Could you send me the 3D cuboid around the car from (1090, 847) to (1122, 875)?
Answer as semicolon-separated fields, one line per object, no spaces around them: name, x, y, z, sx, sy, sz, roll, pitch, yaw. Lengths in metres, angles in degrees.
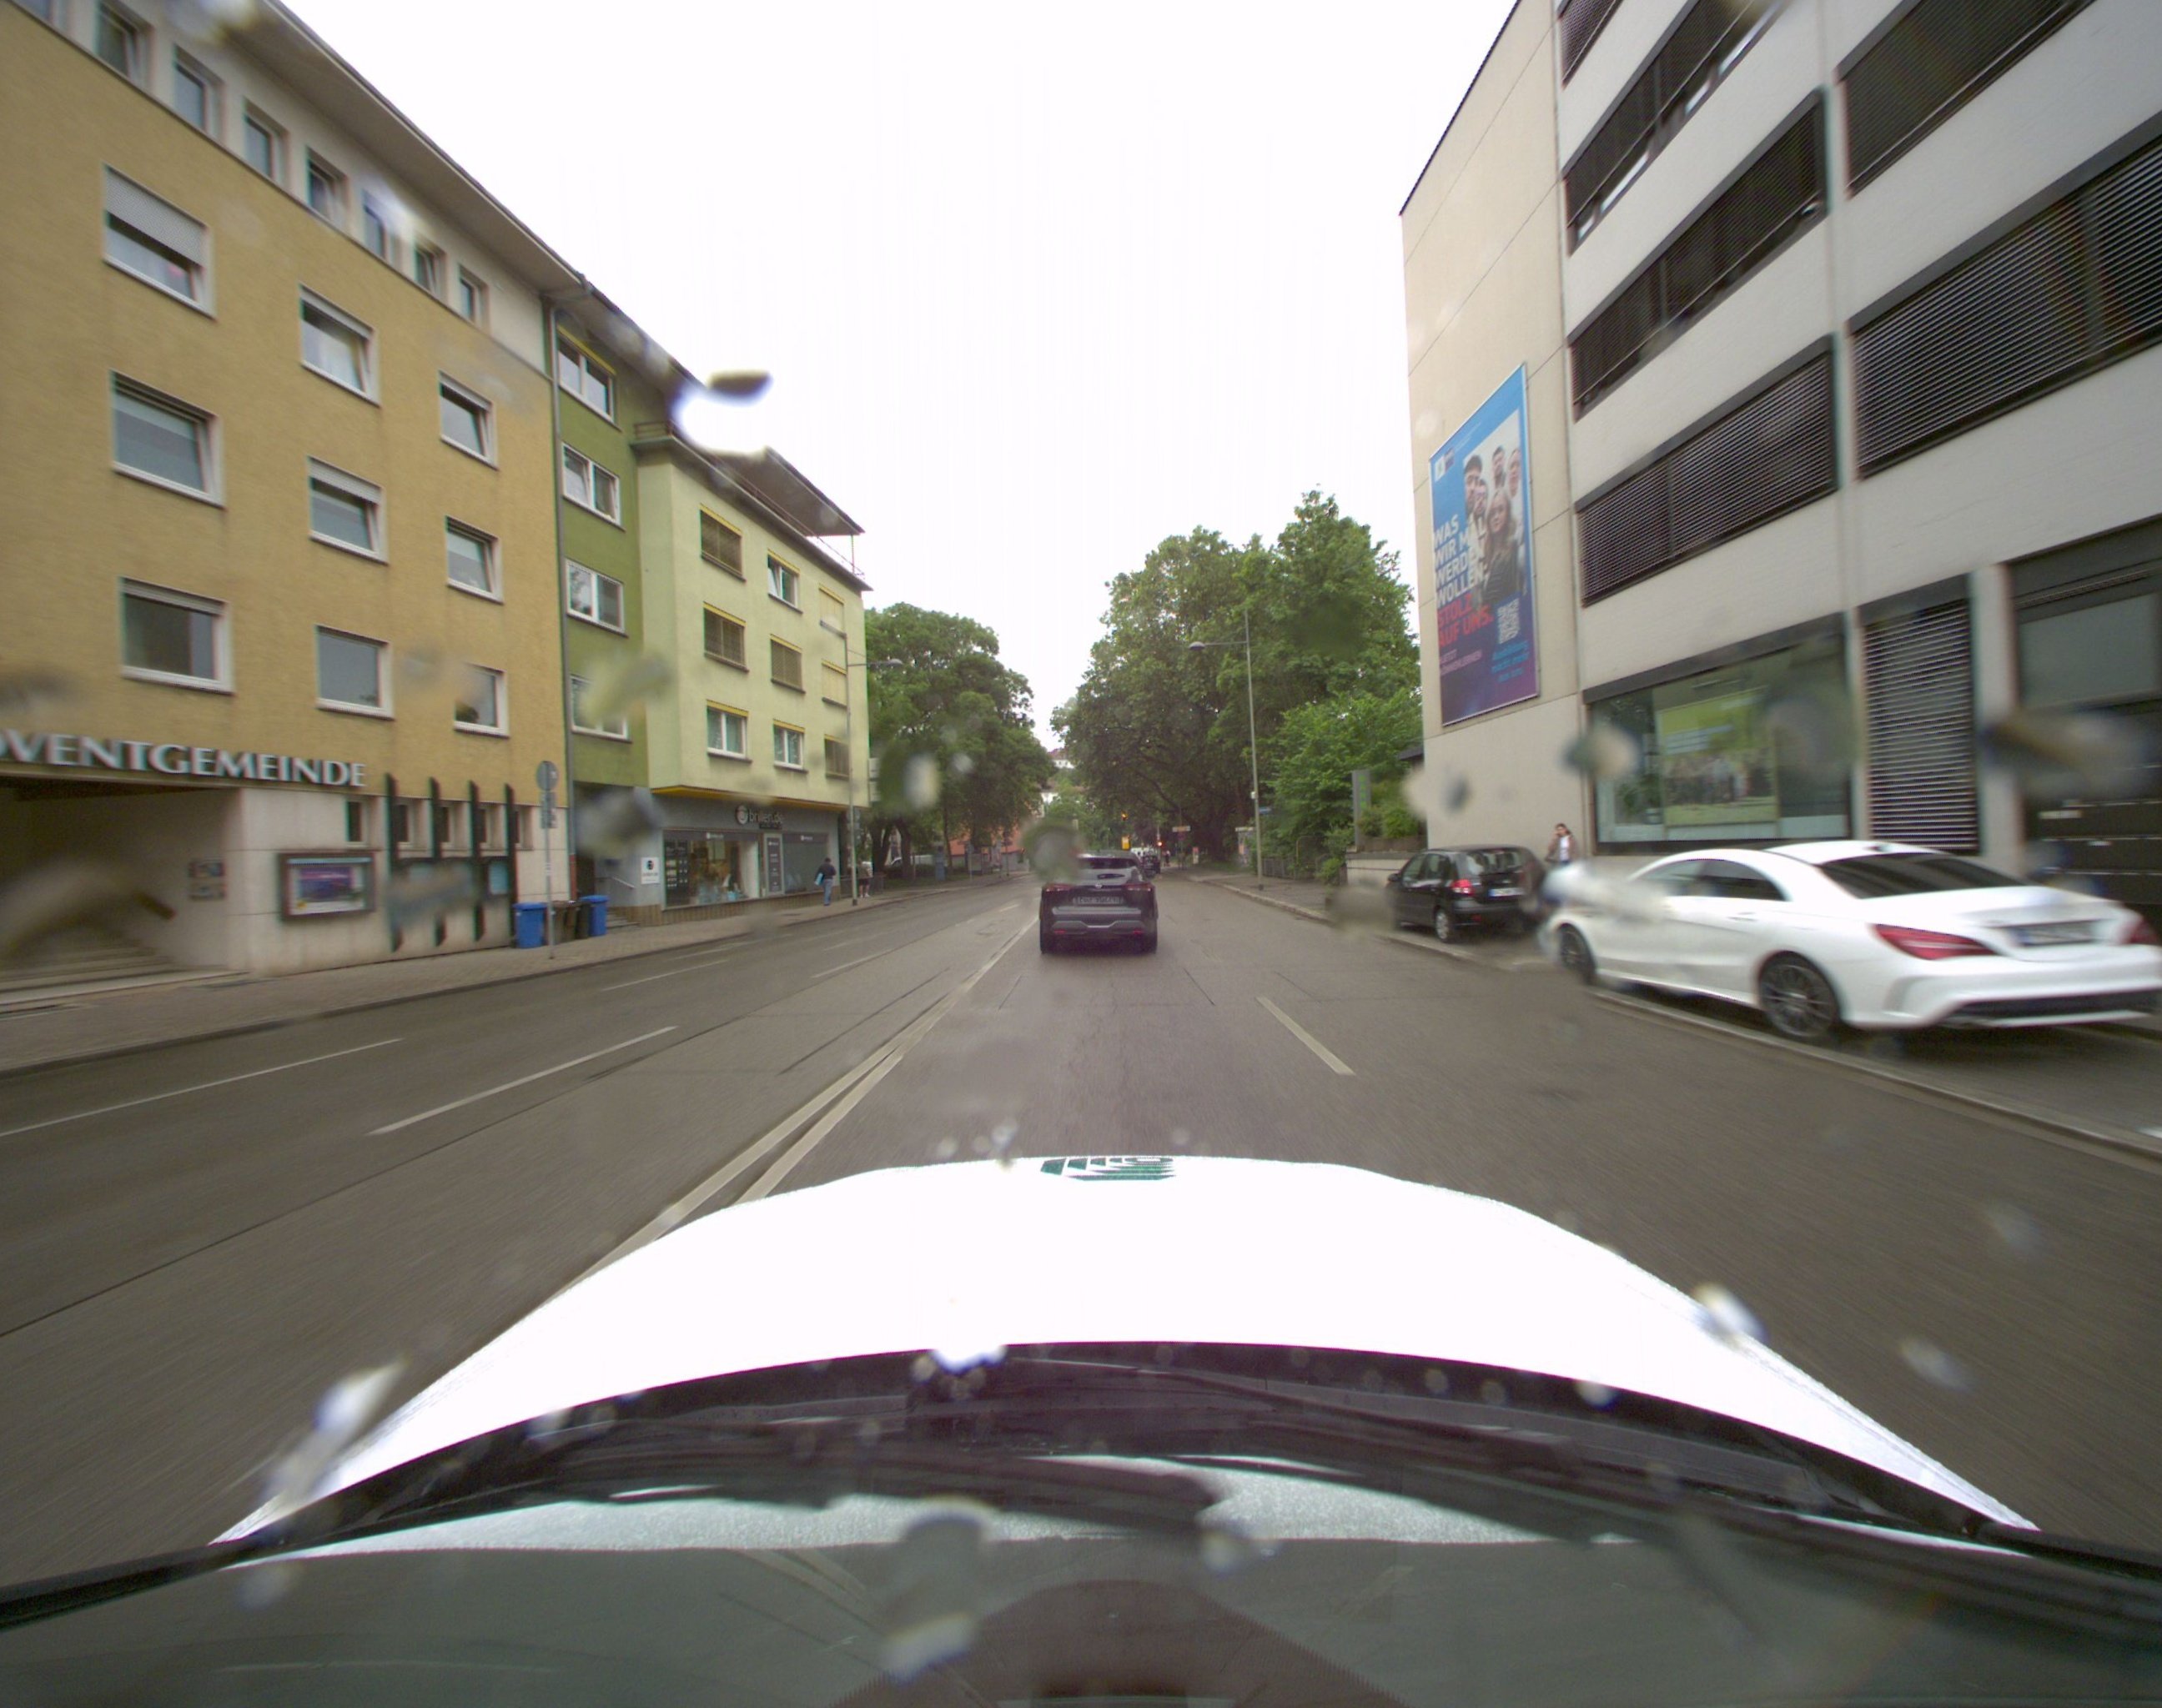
car;1.709;0.460;54.242;1.938;1.685;4.003;-4;-1;3

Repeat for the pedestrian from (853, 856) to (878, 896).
pedestrian;-9.395;0.953;35.587;0.795;1.688;0.817;-2;0;1

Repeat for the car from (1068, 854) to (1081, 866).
car;-1.051;0.936;128.271;1.813;1.796;3.869;-1;0;3

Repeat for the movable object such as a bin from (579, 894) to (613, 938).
movable object such as a bin;-11.689;1.484;19.636;0.397;1.006;0.546;-2;0;9

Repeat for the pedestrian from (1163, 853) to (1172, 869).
pedestrian;9.901;0.766;92.843;0.672;1.791;0.713;-1;0;-40

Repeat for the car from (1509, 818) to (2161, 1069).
car;5.937;0.538;7.215;1.769;1.401;4.578;-4;0;-1

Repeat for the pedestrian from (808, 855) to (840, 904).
pedestrian;-9.663;0.949;30.656;0.861;1.788;0.877;0;0;8

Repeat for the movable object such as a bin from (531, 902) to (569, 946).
movable object such as a bin;-11.748;1.540;18.009;0.451;0.900;0.504;-2;0;9

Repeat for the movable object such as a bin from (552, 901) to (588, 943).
movable object such as a bin;-11.651;1.537;18.578;0.451;0.900;0.504;-2;0;9

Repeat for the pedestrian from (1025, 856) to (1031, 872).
pedestrian;-5.874;1.072;90.310;0.665;1.791;0.720;-1;0;-5

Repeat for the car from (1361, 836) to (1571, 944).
car;6.253;0.524;13.801;1.708;1.442;4.085;-4;0;3

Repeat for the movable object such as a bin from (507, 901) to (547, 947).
movable object such as a bin;-11.850;1.498;17.429;0.451;0.929;0.504;-2;0;9

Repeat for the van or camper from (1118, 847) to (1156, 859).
van or camper;16.524;-0.362;240.681;10.893;3.557;3.185;-1;0;0

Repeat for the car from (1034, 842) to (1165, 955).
car;0.222;0.636;13.900;1.889;1.629;3.997;-1;0;-2

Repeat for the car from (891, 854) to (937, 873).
car;-15.339;0.870;75.059;3.821;1.734;1.879;-1;0;0

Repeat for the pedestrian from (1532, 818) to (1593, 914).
pedestrian;9.096;0.222;15.404;0.611;1.737;0.680;-4;-1;-5

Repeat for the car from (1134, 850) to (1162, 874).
car;5.540;0.660;67.501;1.939;1.816;4.000;-4;-1;0
